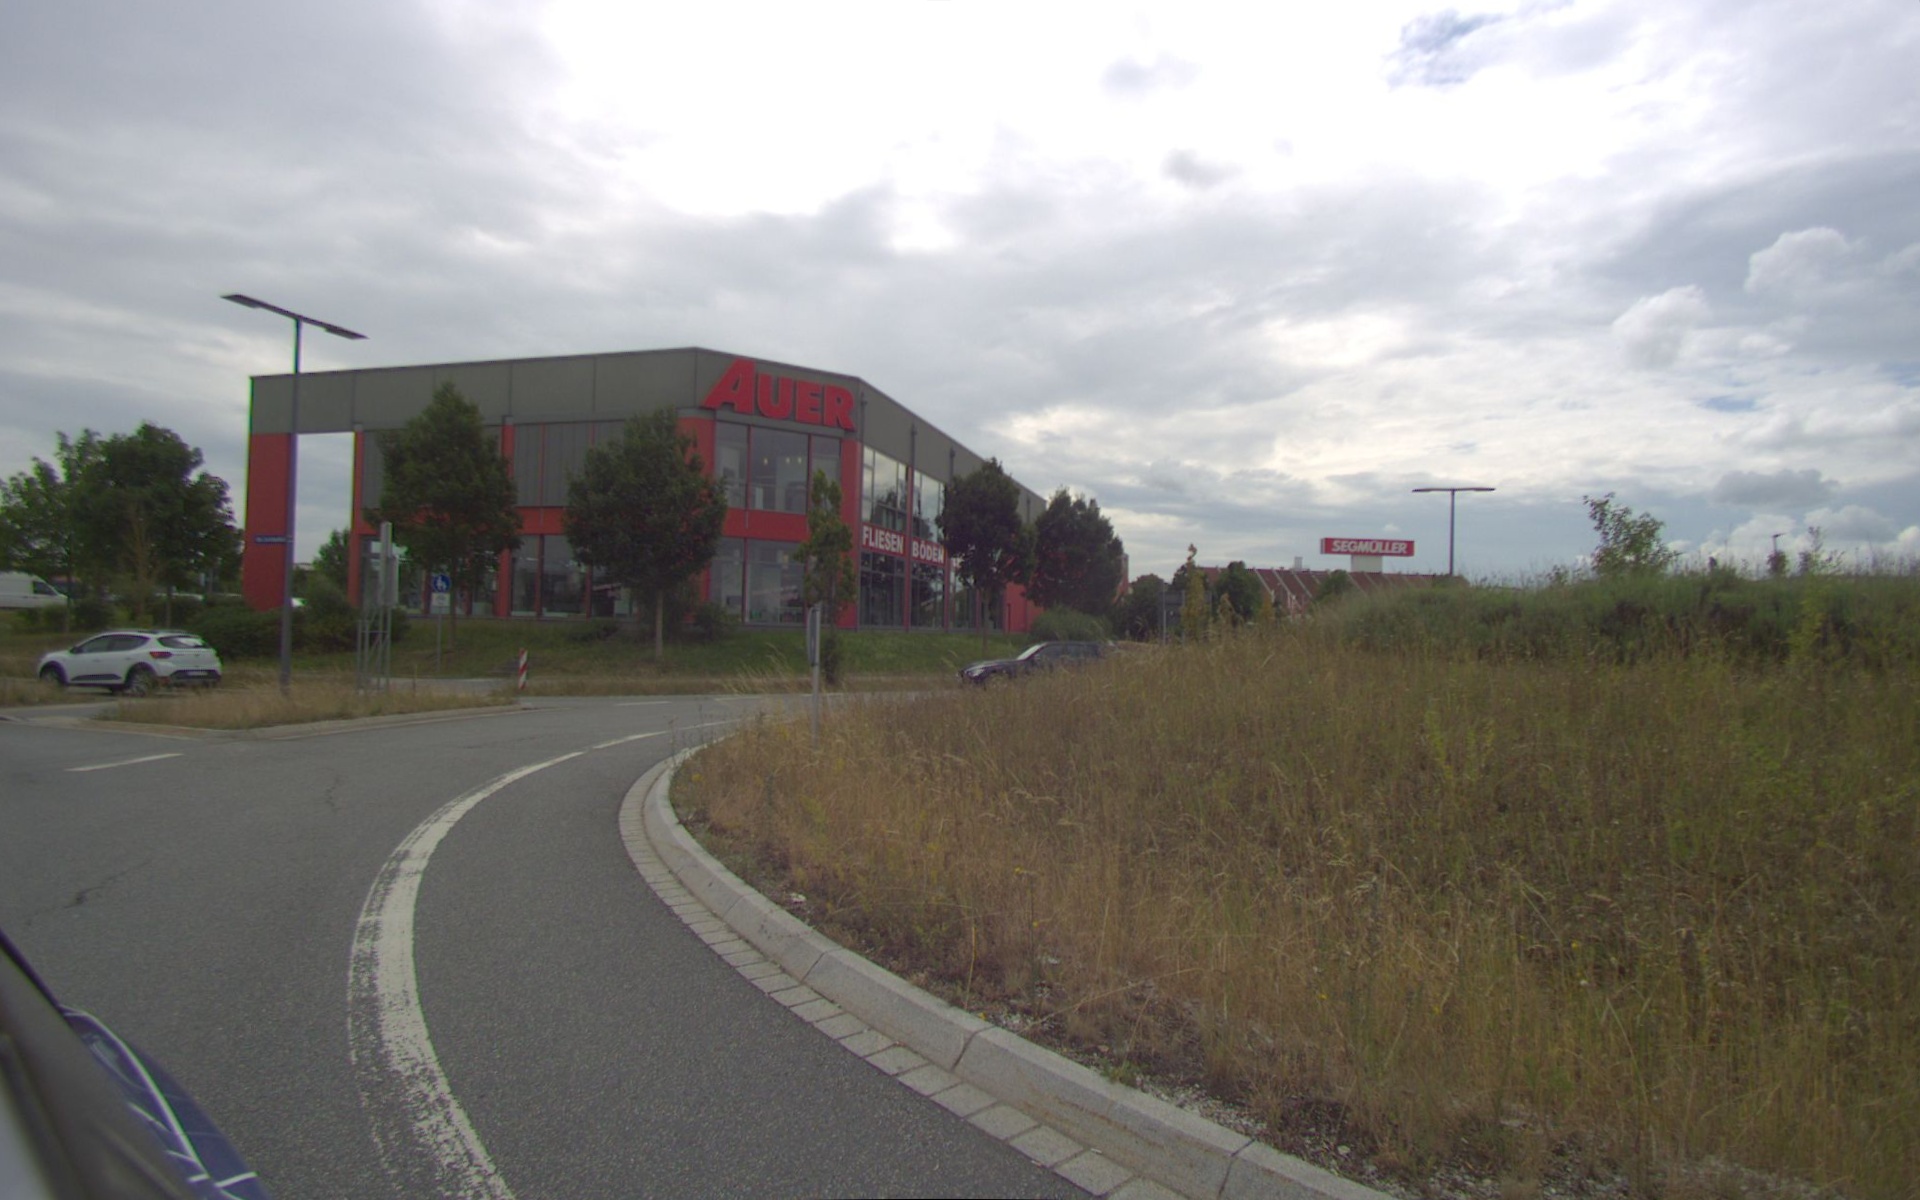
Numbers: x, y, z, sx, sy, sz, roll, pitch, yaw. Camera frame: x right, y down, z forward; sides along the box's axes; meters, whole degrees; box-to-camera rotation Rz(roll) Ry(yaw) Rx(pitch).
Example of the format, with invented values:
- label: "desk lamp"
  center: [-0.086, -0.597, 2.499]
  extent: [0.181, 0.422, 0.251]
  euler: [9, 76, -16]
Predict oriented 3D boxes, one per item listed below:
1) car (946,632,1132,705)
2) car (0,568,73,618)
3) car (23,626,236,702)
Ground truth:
- label: "car"
  center: [1.954, 1.715, 25.693]
  extent: [4.225, 1.620, 2.005]
  euler: [2, 0, -13]
- label: "car"
  center: [-51.748, -0.377, 54.066]
  extent: [2.049, 2.643, 6.378]
  euler: [2, 0, 19]
- label: "car"
  center: [-19.908, 1.507, 24.318]
  extent: [4.043, 1.570, 1.727]
  euler: [2, -3, 12]
